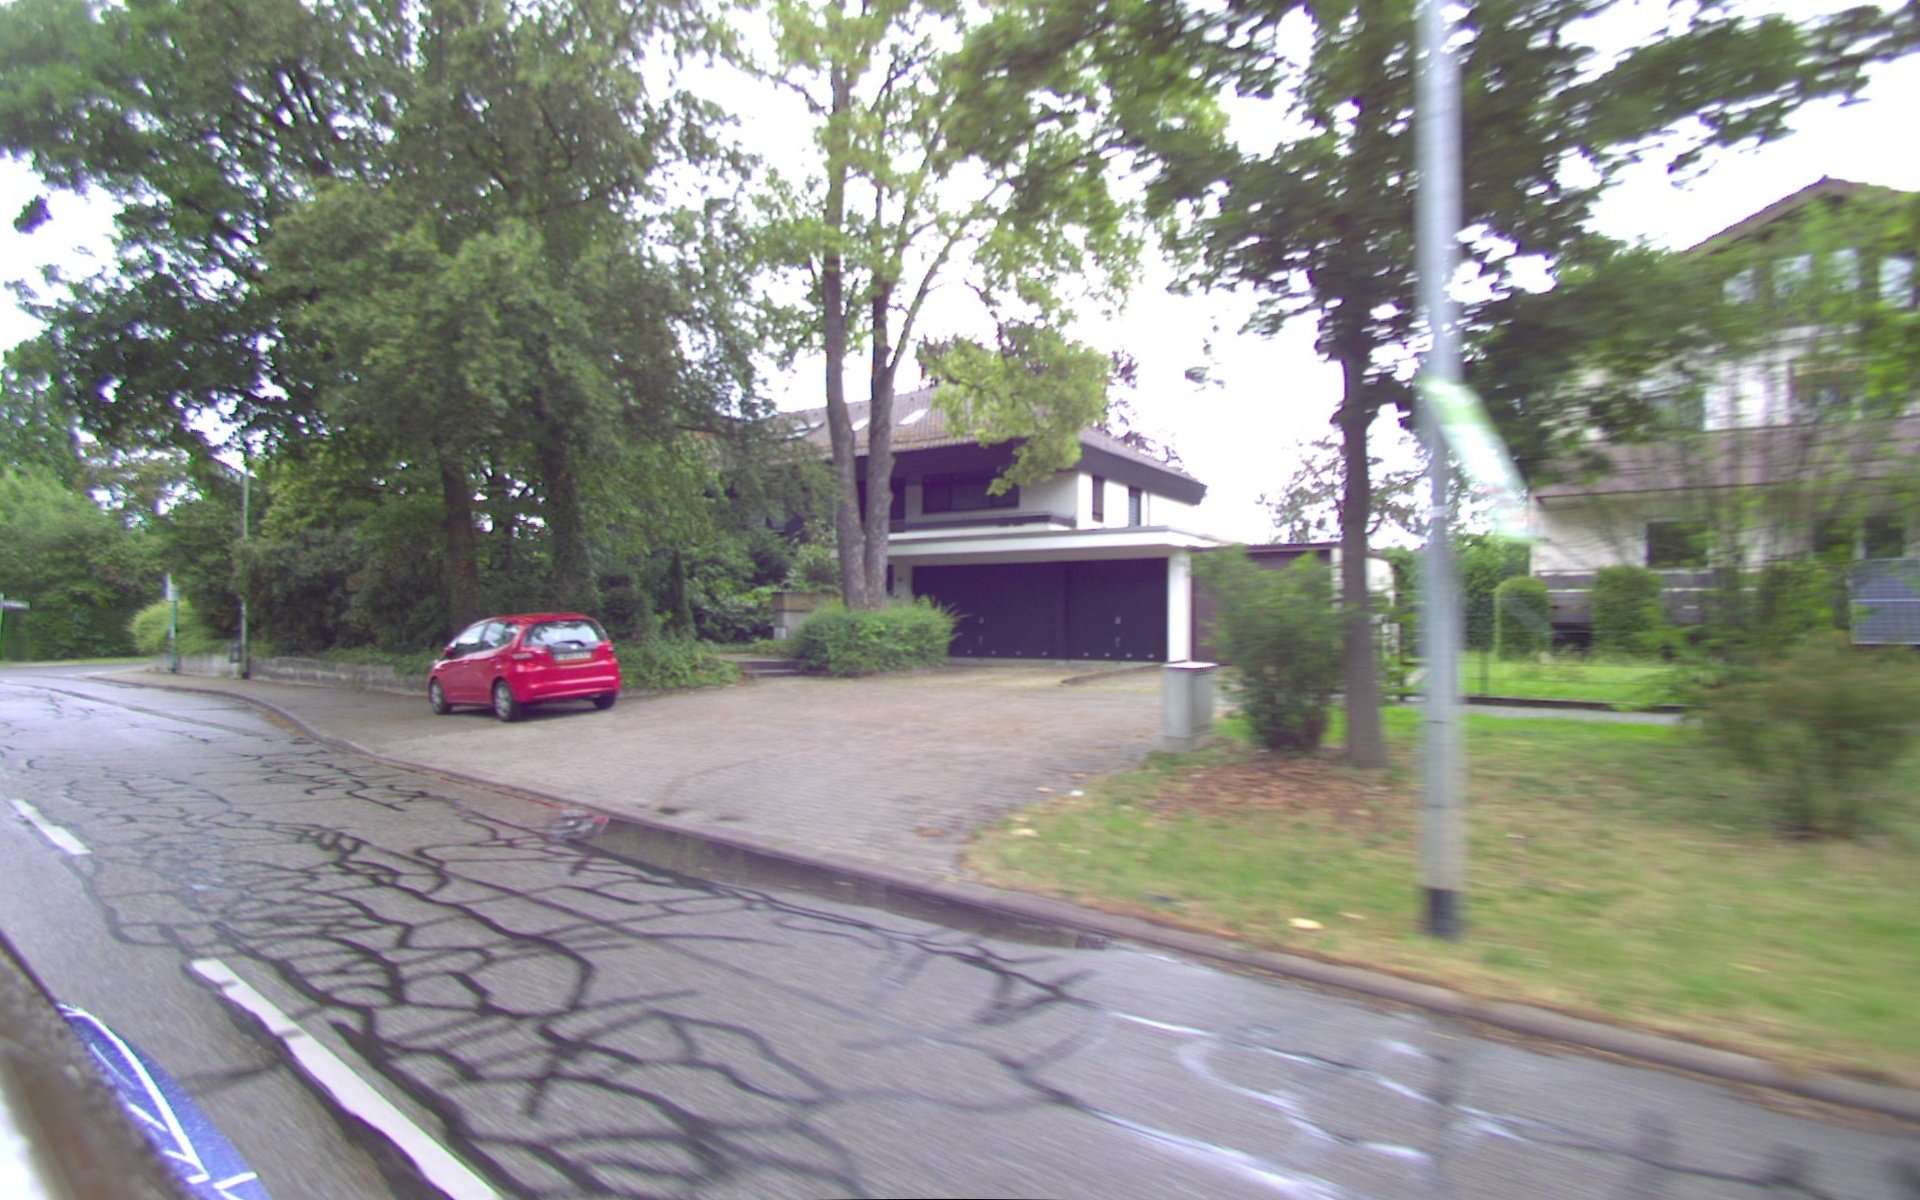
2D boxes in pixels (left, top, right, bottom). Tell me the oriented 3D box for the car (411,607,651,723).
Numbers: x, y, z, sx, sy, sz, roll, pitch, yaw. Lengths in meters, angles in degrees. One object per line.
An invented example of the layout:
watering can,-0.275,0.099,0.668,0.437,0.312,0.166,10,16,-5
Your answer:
car,-6.787,0.964,15.822,4.000,1.527,1.972,-3,-1,43

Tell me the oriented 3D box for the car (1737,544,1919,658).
car,18.383,0.003,20.890,3.472,2.053,5.693,-2,0,36
